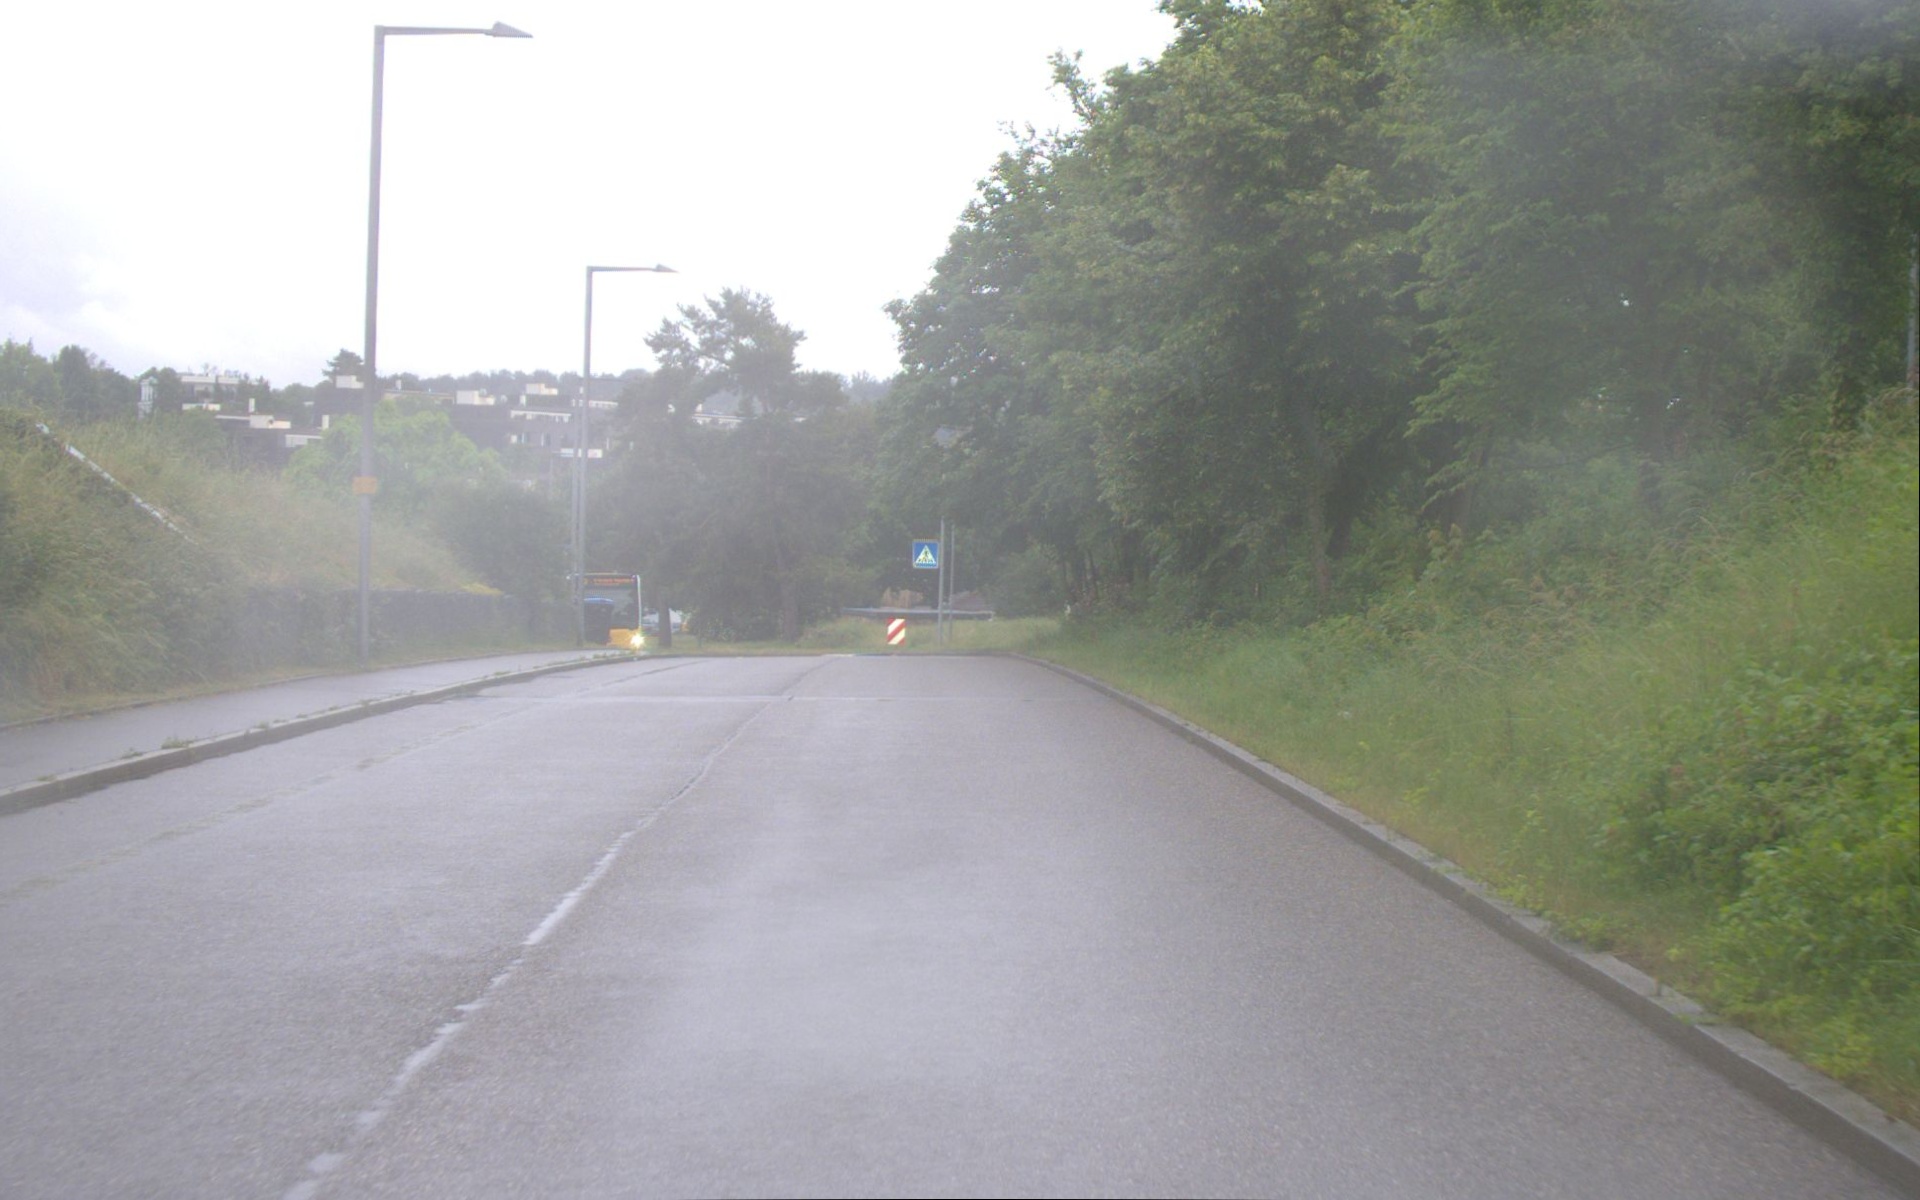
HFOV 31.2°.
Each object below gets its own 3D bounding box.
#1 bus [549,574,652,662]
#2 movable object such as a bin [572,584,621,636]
[{"bbox_3d":[-13.052,0.694,124.160,2.639,3.057,10.857,0,-1,-12],"label":"bus"},{"bbox_3d":[-9.791,0.277,92.637,1.131,1.335,1.399,4,-1,-10],"label":"movable object such as a bin"}]
